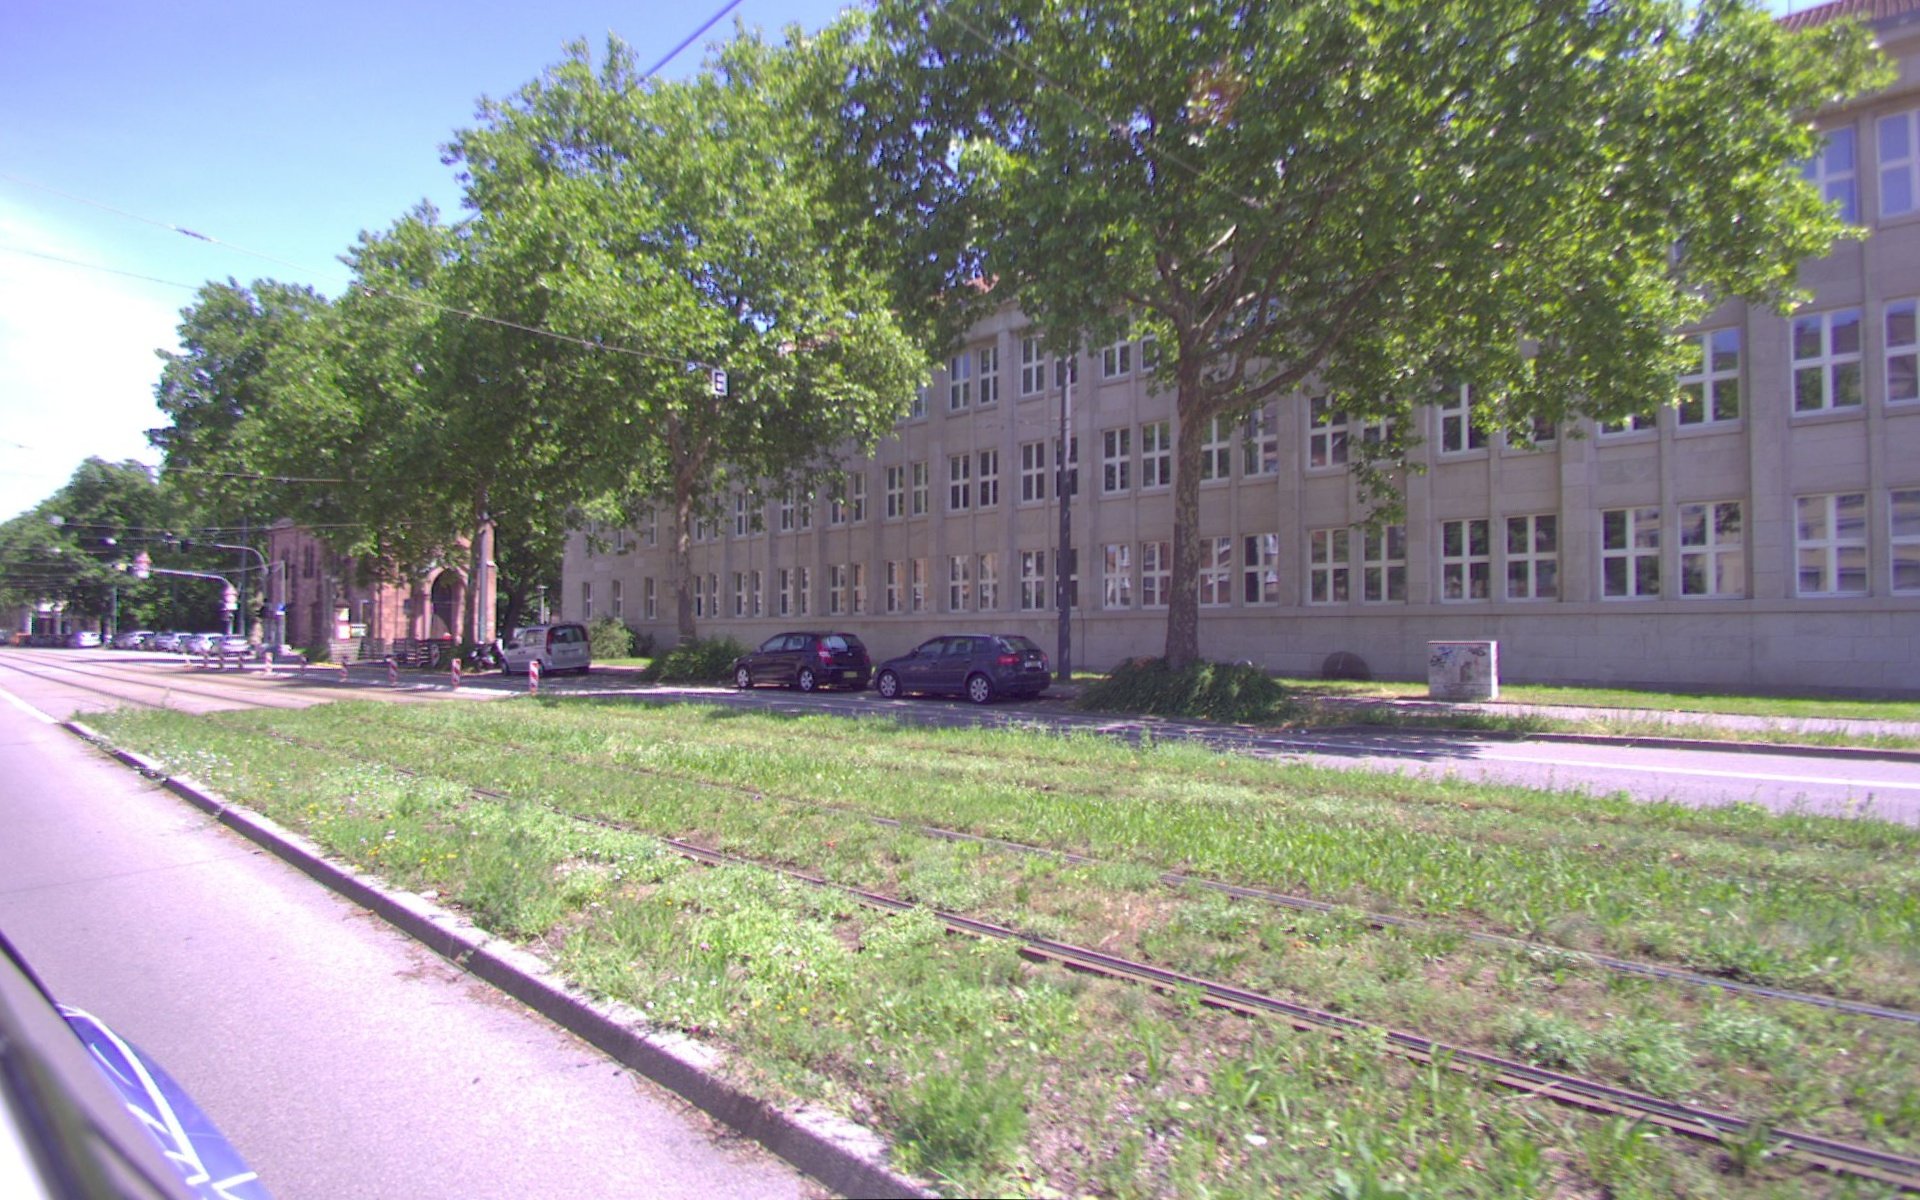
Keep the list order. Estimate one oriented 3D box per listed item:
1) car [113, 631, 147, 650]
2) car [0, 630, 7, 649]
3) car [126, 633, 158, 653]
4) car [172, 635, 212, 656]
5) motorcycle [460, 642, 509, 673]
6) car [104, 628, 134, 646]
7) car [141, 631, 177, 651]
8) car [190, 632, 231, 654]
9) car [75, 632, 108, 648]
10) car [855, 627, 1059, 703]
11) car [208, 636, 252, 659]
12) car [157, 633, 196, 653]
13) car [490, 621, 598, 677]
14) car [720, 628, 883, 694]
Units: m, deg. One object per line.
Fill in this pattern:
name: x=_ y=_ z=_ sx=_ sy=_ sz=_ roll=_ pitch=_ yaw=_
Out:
car: x=-77.669 y=3.792 z=94.692 sx=4.000 sy=1.730 sz=1.972 roll=-2 pitch=-2 yaw=43
car: x=-119.645 y=4.868 z=125.443 sx=3.759 sy=2.314 sz=1.798 roll=-2 pitch=-2 yaw=40
car: x=-72.394 y=3.763 z=89.517 sx=3.906 sy=1.665 sz=1.723 roll=-2 pitch=-2 yaw=44
car: x=-56.809 y=3.335 z=74.865 sx=4.057 sy=1.470 sz=1.640 roll=-2 pitch=-2 yaw=42
motorcycle: x=-18.087 y=2.179 z=38.549 sx=0.720 sy=1.076 sz=1.865 roll=-1 pitch=0 yaw=12
car: x=-81.804 y=3.598 z=98.429 sx=3.732 sy=1.704 sz=1.801 roll=-2 pitch=-2 yaw=43
car: x=-64.893 y=3.312 z=81.985 sx=3.752 sy=1.535 sz=1.724 roll=-2 pitch=-2 yaw=42
car: x=-53.075 y=3.032 z=71.646 sx=4.059 sy=1.470 sz=1.640 roll=-2 pitch=-2 yaw=43
car: x=-89.596 y=4.112 z=104.413 sx=3.997 sy=1.575 sz=1.952 roll=-2 pitch=-2 yaw=40
car: x=-0.142 y=1.314 z=21.429 sx=4.319 sy=1.434 sz=1.572 roll=-2 pitch=-2 yaw=39
car: x=-49.271 y=3.168 z=68.241 sx=4.221 sy=1.470 sz=1.640 roll=-2 pitch=-2 yaw=43
car: x=-60.673 y=3.299 z=78.350 sx=3.752 sy=1.470 sz=1.724 roll=-2 pitch=-2 yaw=42
car: x=-14.562 y=1.665 z=35.333 sx=4.303 sy=1.824 sz=1.971 roll=-2 pitch=-2 yaw=45
car: x=-3.997 y=1.459 z=25.142 sx=4.324 sy=1.494 sz=1.743 roll=-2 pitch=-2 yaw=44
